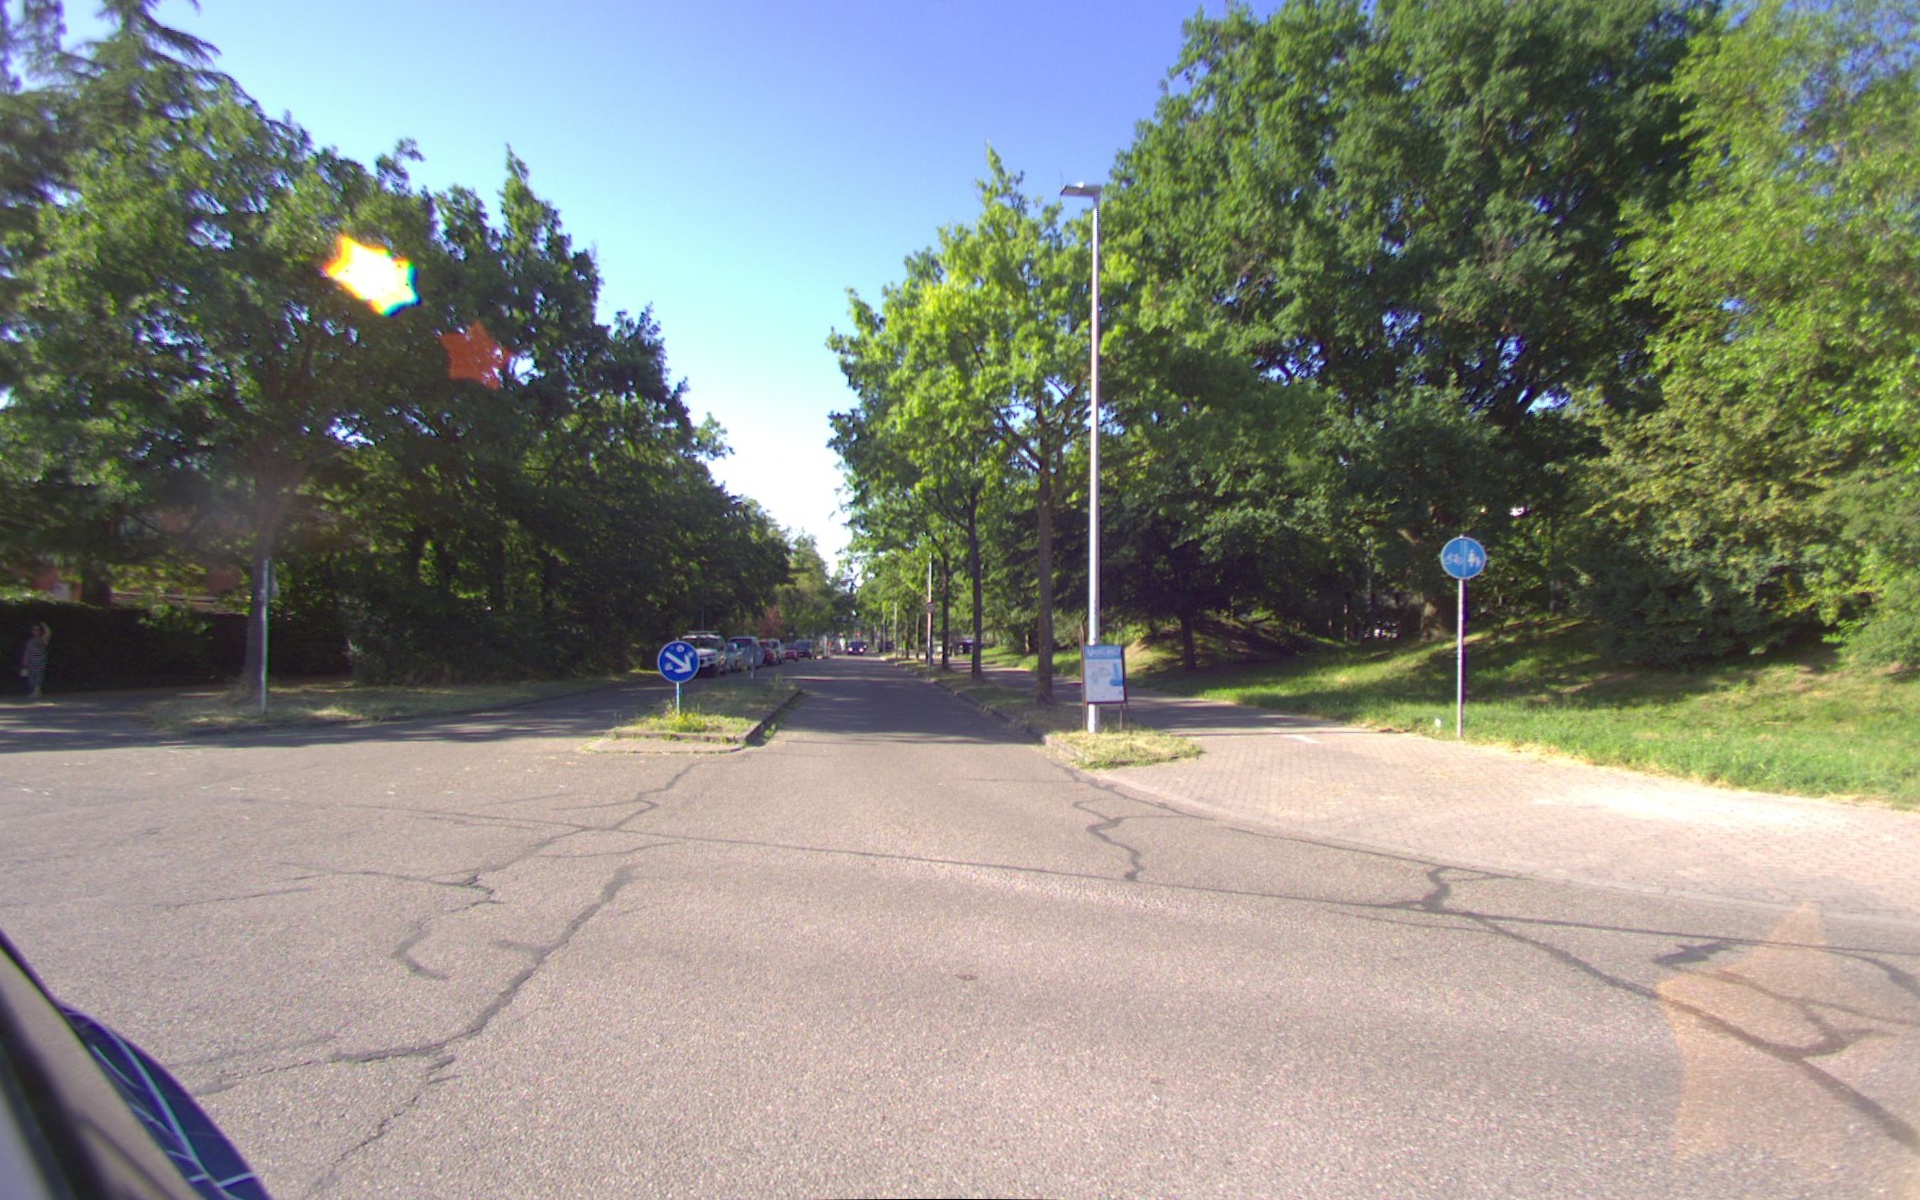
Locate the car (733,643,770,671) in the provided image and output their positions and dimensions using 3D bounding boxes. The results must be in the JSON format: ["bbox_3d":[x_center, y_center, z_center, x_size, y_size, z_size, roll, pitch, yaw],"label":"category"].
[{"bbox_3d":[-12.588,3.430,61.334,1.747,1.651,3.756,0,-3,-4],"label":"car"}]

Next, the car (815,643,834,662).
[{"bbox_3d":[-12.546,4.859,93.658,1.429,1.666,3.721,0,-3,-2],"label":"car"}]

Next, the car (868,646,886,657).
[{"bbox_3d":[-11.198,6.863,135.791,1.967,1.377,4.008,1,-2,-10],"label":"car"}]

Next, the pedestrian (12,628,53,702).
[{"bbox_3d":[-20.078,1.403,21.908,0.535,1.573,0.393,0,-3,22],"label":"pedestrian"}]

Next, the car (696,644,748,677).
[{"bbox_3d":[-11.337,2.869,48.459,1.697,1.455,4.618,-1,-3,-4],"label":"car"}]

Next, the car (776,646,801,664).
[{"bbox_3d":[-13.167,4.193,77.827,1.479,1.370,3.468,0,-3,-2],"label":"car"}]

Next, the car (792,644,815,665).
[{"bbox_3d":[-12.954,4.481,83.996,1.479,1.666,4.093,0,-3,-2],"label":"car"}]

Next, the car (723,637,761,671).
[{"bbox_3d":[-11.616,2.873,54.028,1.478,1.768,3.805,0,-3,-4],"label":"car"}]

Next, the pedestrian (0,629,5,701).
[{"bbox_3d":[-20.517,1.374,21.243,0.390,1.532,0.539,1,-2,-5],"label":"pedestrian"}]

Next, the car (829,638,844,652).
[{"bbox_3d":[-14.339,5.234,117.903,1.402,1.666,3.911,0,-3,-2],"label":"car"}]

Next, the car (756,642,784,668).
[{"bbox_3d":[-12.737,3.672,68.067,1.478,1.651,3.756,0,-3,-4],"label":"car"}]

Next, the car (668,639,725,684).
[{"bbox_3d":[-11.000,2.531,42.537,1.728,1.762,4.641,0,-2,-7],"label":"car"}]
